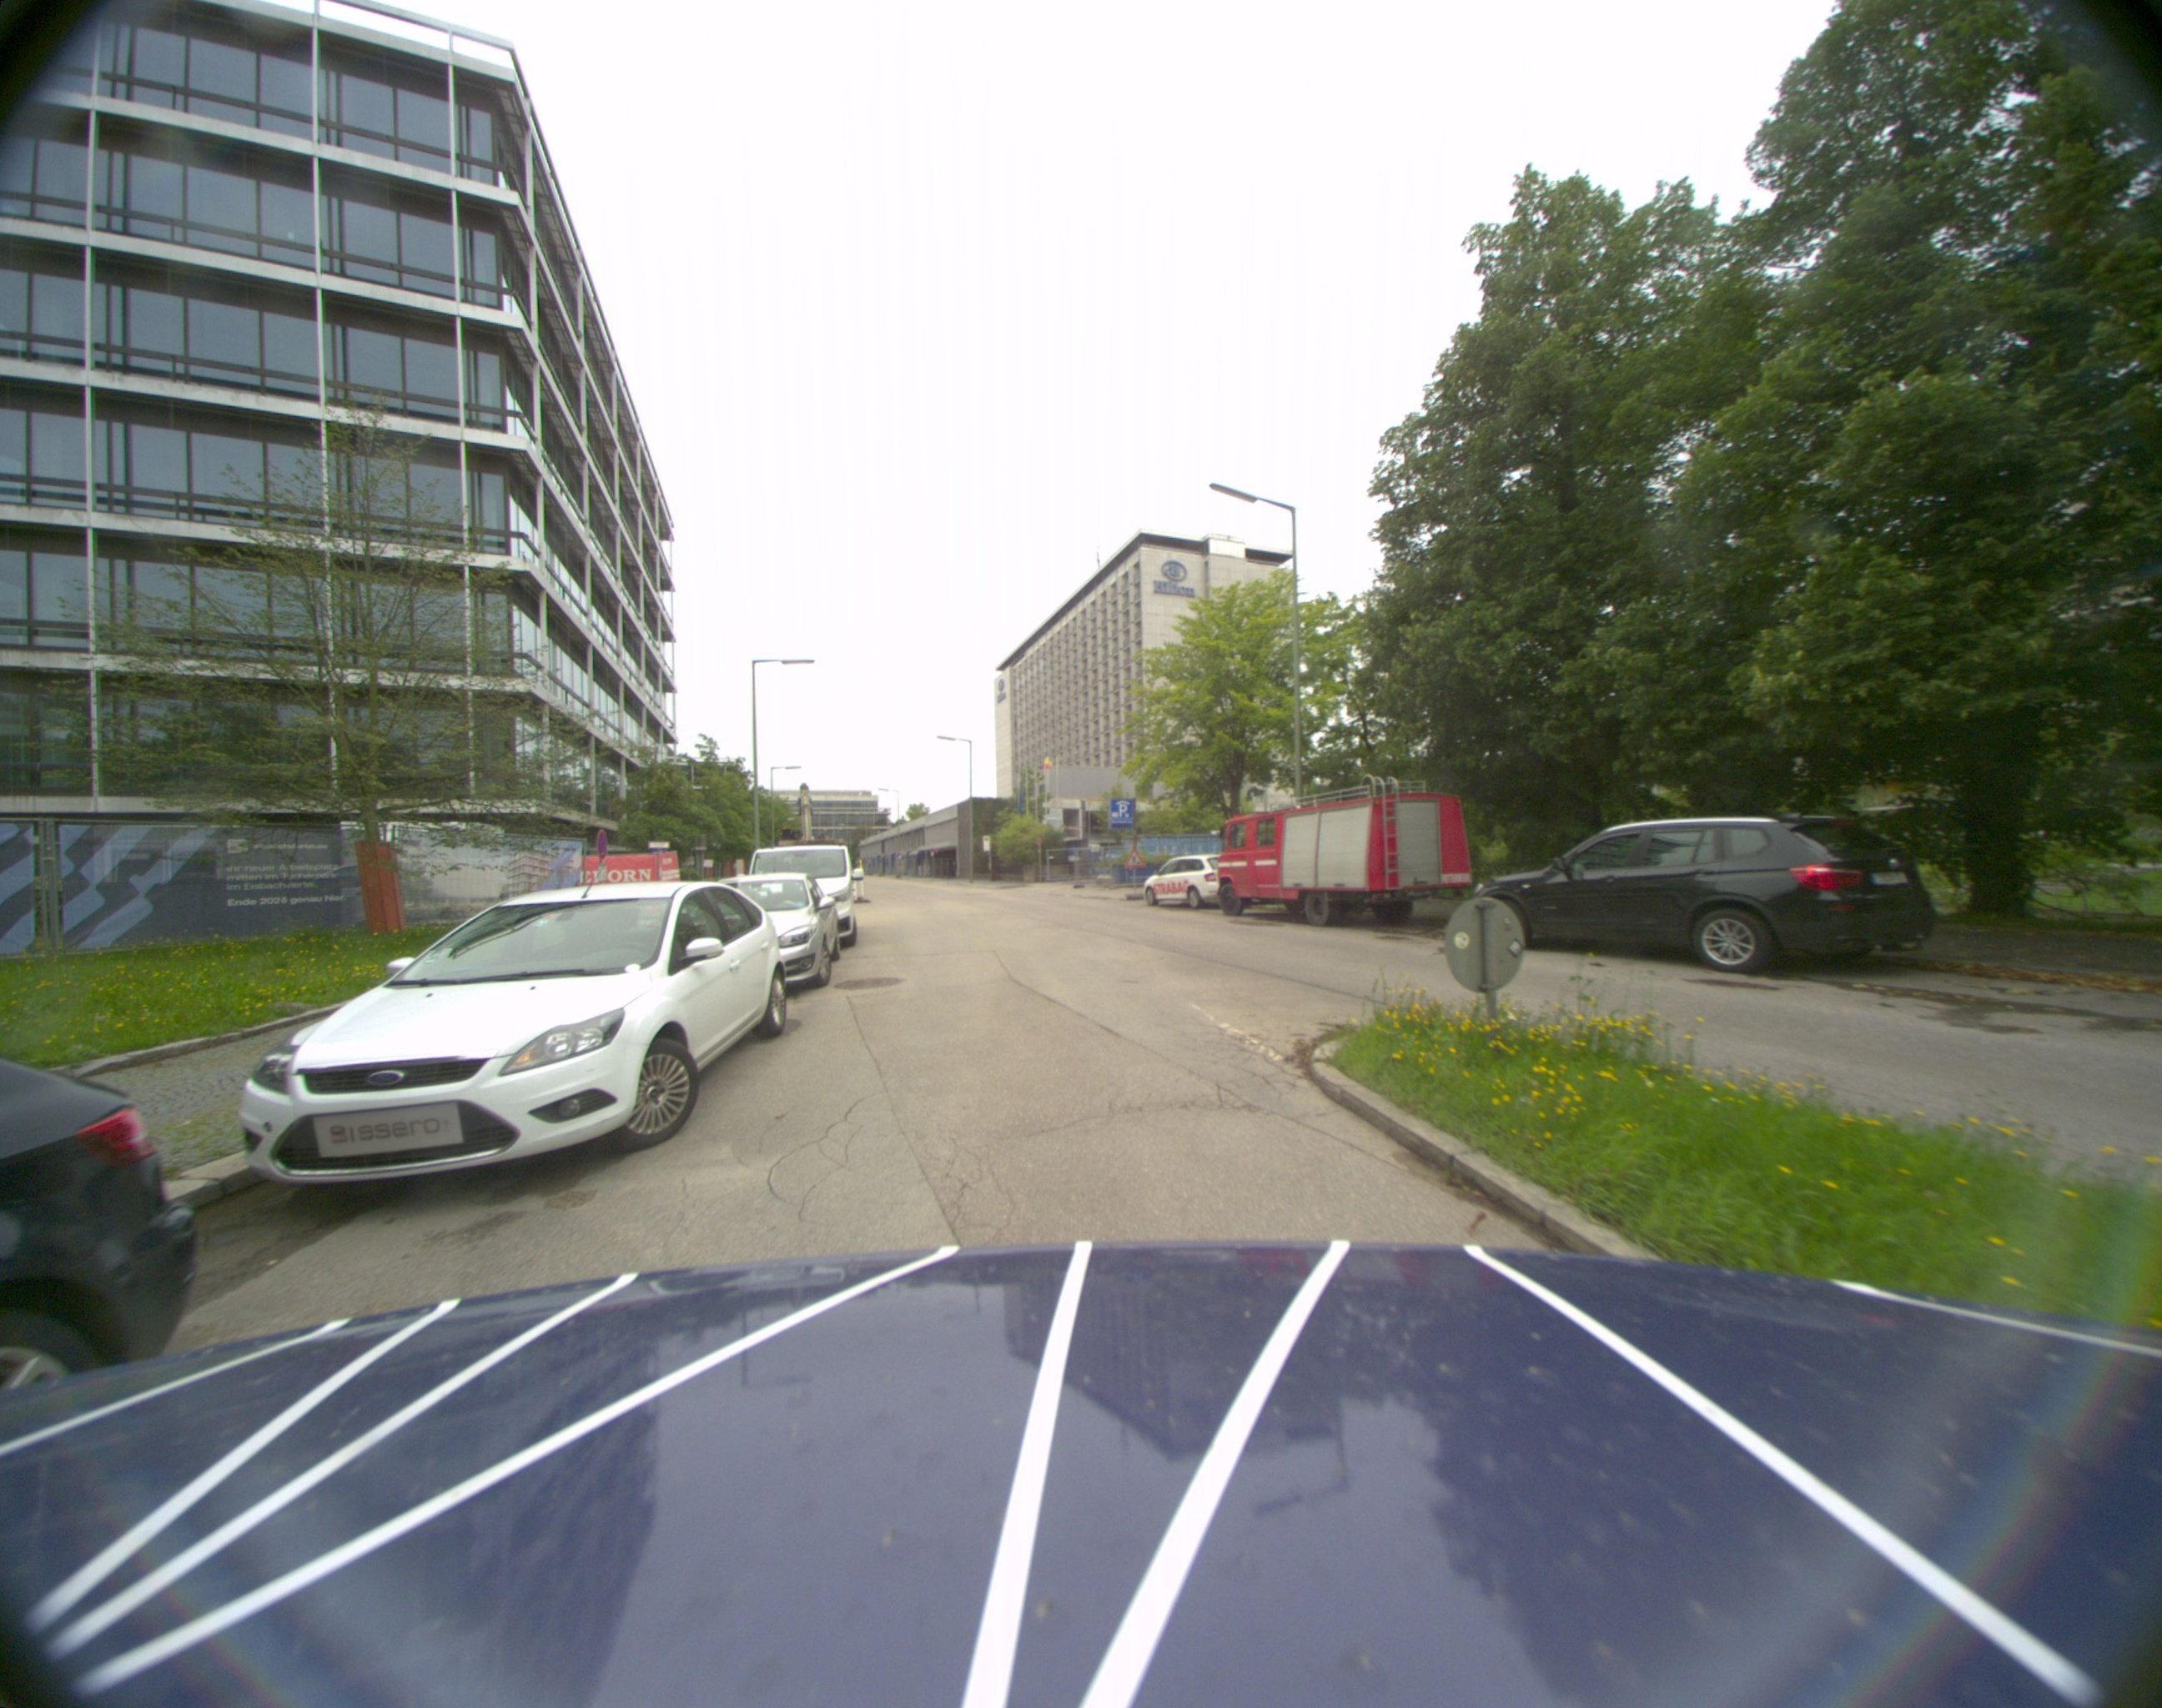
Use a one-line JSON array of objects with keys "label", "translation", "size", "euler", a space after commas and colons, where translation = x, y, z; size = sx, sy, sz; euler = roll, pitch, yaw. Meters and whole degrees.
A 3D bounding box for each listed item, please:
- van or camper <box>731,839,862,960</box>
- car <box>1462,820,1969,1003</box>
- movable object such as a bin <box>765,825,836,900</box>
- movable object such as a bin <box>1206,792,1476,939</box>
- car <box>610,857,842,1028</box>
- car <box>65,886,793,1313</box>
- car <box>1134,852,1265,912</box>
[{"label": "van or camper", "translation": [-5.622, 0.763, 15.661], "size": [2.001, 2.002, 5.369], "euler": [-2, 1, -16]}, {"label": "car", "translation": [7.127, 0.524, 9.260], "size": [1.783, 1.640, 4.453], "euler": [-2, 0, -18]}, {"label": "movable object such as a bin", "translation": [-15.832, 0.392, 42.474], "size": [3.255, 3.695, 8.990], "euler": [-2, 1, -22]}, {"label": "movable object such as a bin", "translation": [4.968, 0.197, 15.895], "size": [2.112, 2.444, 6.178], "euler": [-1, 0, -17]}, {"label": "car", "translation": [-4.467, 0.935, 10.359], "size": [2.001, 1.718, 4.444], "euler": [-2, 1, -14]}, {"label": "car", "translation": [-3.425, 1.071, 5.233], "size": [1.772, 1.477, 4.217], "euler": [-1, 0, -8]}, {"label": "car", "translation": [3.338, 0.756, 22.300], "size": [1.784, 1.540, 4.249], "euler": [-2, 0, -23]}]
